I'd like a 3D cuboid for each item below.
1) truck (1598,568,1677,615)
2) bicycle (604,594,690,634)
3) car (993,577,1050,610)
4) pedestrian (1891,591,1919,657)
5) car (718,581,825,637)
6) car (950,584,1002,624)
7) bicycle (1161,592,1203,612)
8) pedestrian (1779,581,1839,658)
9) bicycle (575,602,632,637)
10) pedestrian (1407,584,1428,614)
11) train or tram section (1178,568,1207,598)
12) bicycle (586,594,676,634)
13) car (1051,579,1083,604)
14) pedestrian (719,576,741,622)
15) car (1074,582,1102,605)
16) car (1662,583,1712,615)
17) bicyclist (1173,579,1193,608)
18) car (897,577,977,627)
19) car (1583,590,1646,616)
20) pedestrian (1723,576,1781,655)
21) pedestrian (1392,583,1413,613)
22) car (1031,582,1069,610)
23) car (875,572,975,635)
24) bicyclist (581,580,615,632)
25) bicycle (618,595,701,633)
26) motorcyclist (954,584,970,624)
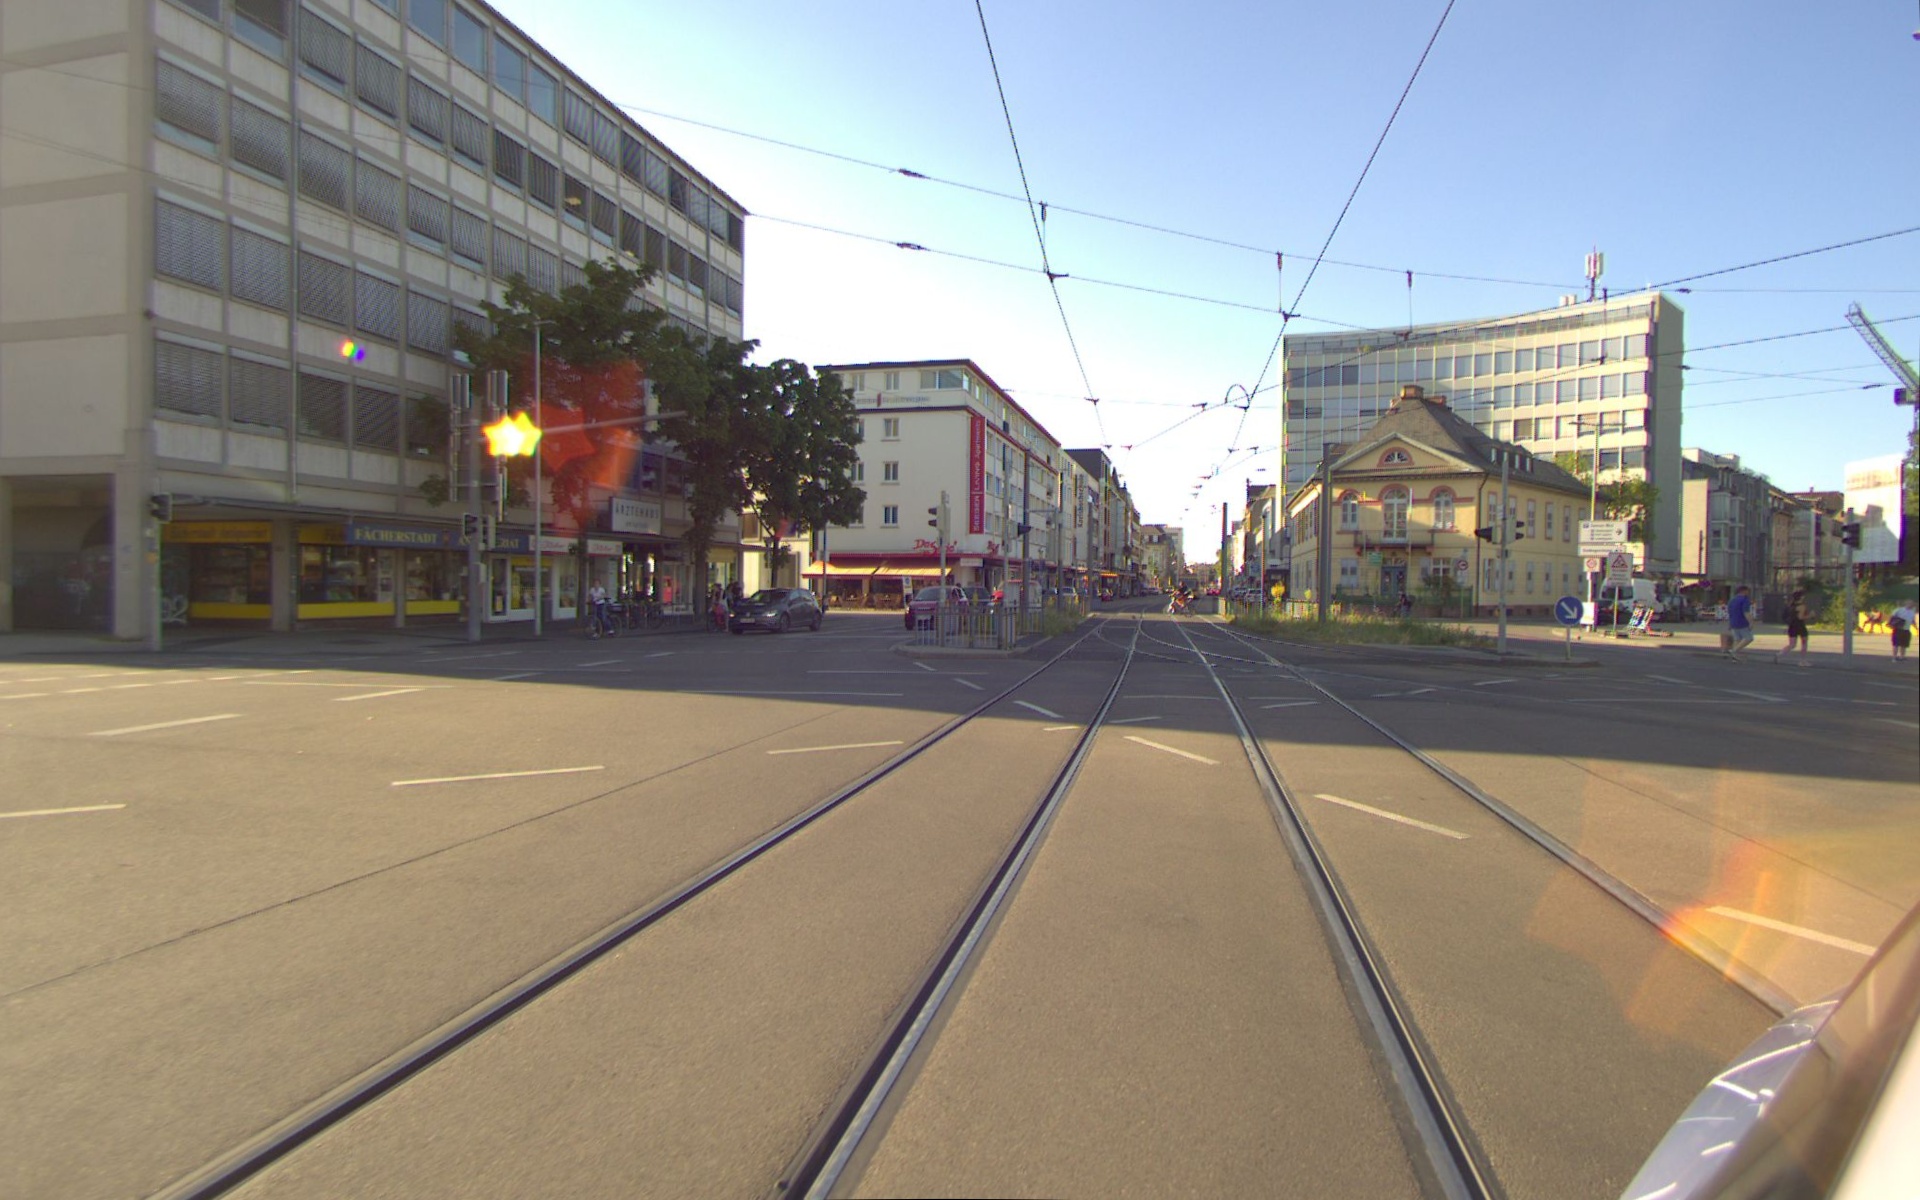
[{"bbox_3d":[39.615,-0.445,59.125,5.538,2.581,2.298,1,-1,-39],"label":"truck"},{"bbox_3d":[-10.380,0.465,33.591,2.593,1.158,0.751,3,-1,4],"label":"bicycle"},{"bbox_3d":[3.640,-0.347,59.174,1.882,1.866,4.590,0,-1,23],"label":"car"},{"bbox_3d":[26.286,0.651,27.783,0.753,1.785,0.999,0,-1,24],"label":"pedestrian"},{"bbox_3d":[-5.876,0.281,32.092,1.817,1.638,4.063,0,-1,14],"label":"car"},{"bbox_3d":[0.648,0.188,43.448,1.807,1.638,4.003,0,-1,-5],"label":"car"},{"bbox_3d":[11.287,0.098,51.470,1.970,0.960,0.718,0,-1,25],"label":"bicycle"},{"bbox_3d":[19.219,0.430,22.905,1.021,1.704,0.698,1,-1,-28],"label":"pedestrian"},{"bbox_3d":[-10.067,0.550,28.687,0.660,0.952,2.026,0,-1,8],"label":"bicycle"},{"bbox_3d":[25.630,-0.072,56.712,0.800,1.663,0.687,1,-1,-17],"label":"pedestrian"},{"bbox_3d":[31.674,-2.273,138.269,3.659,3.881,13.311,0,1,12],"label":"train or tram section"},{"bbox_3d":[-10.526,0.443,32.401,2.593,1.158,0.751,3,-1,4],"label":"bicycle"},{"bbox_3d":[9.397,-0.711,88.558,1.972,2.039,4.848,0,-1,16],"label":"car"},{"bbox_3d":[-10.317,-0.026,45.356,0.707,2.039,0.623,0,-1,22],"label":"pedestrian"},{"bbox_3d":[12.265,-0.610,96.848,1.972,2.039,4.848,0,-1,16],"label":"car"},{"bbox_3d":[47.132,-0.066,65.615,3.694,2.006,1.712,1,-1,-39],"label":"car"},{"bbox_3d":[11.338,-0.334,51.451,0.888,1.476,0.718,0,-1,25],"label":"bicyclist"},{"bbox_3d":[-0.727,0.090,35.019,1.817,1.638,3.982,0,-1,14],"label":"car"},{"bbox_3d":[35.664,0.169,55.118,4.119,1.382,1.712,1,-1,-39],"label":"car"},{"bbox_3d":[18.518,0.364,23.658,1.021,1.816,0.698,1,-1,-28],"label":"pedestrian"},{"bbox_3d":[24.690,-0.120,56.461,0.800,1.663,0.687,1,-1,-17],"label":"pedestrian"},{"bbox_3d":[6.712,-0.268,74.751,1.972,2.039,4.848,0,-1,16],"label":"car"},{"bbox_3d":[-0.909,0.111,28.810,1.817,1.638,3.982,0,-1,14],"label":"car"},{"bbox_3d":[-10.136,0.169,28.339,0.660,1.442,0.680,0,-1,9],"label":"bicyclist"},{"bbox_3d":[-10.268,0.476,34.623,2.593,1.158,0.751,3,-1,4],"label":"bicycle"},{"bbox_3d":[0.076,0.140,38.889,0.527,1.528,0.460,0,-1,14],"label":"motorcyclist"}]
